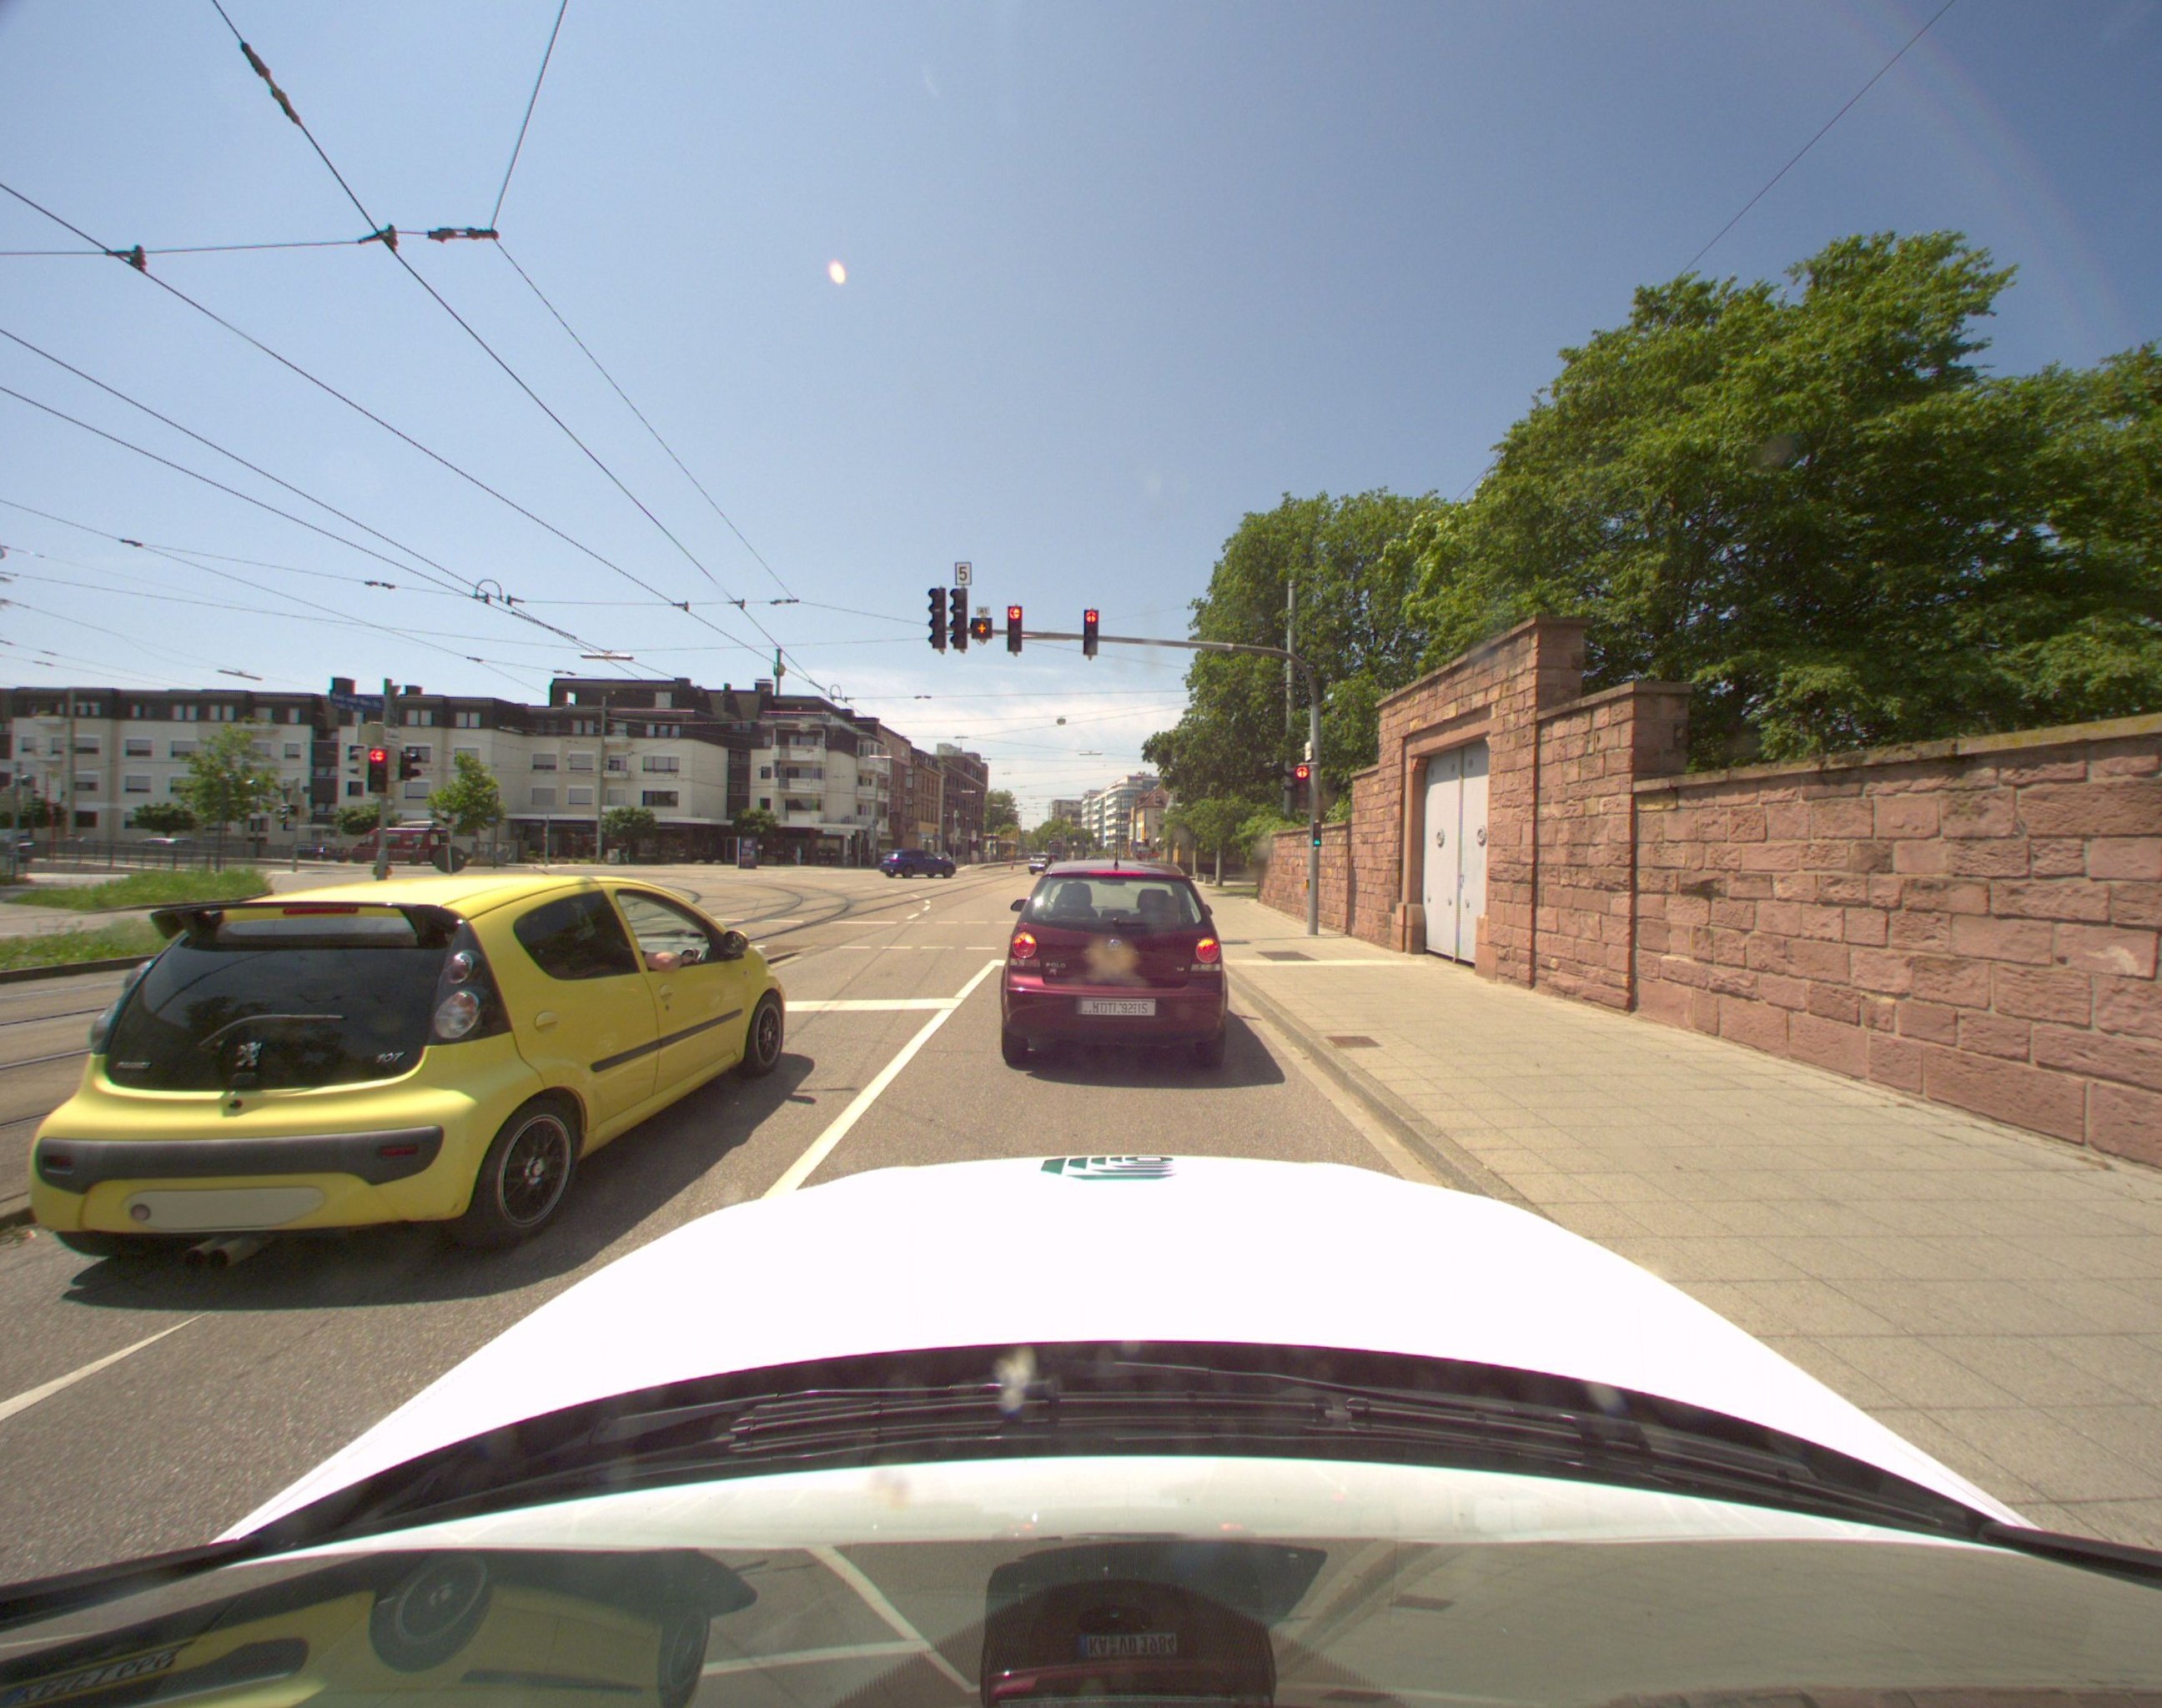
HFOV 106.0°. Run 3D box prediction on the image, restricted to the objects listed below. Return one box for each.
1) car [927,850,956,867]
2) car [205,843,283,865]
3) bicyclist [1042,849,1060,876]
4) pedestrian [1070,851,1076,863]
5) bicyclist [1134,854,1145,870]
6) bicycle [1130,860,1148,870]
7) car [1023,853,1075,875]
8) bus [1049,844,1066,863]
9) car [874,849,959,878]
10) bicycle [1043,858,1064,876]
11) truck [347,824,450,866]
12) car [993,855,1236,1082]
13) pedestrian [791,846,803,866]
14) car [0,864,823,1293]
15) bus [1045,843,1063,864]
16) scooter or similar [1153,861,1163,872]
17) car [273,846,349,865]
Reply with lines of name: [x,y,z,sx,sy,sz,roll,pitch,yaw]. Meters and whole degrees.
car: [-13.785,0.439,80.533,1.986,1.553,4.141,1,0,2]
car: [-55.841,-0.013,54.382,3.556,1.433,1.591,1,0,2]
bicyclist: [-1.967,0.570,53.442,0.720,1.760,0.930,1,0,34]
pedestrian: [-1.102,0.446,115.556,0.760,1.674,1.101,1,0,2]
bicyclist: [6.222,0.825,86.633,0.862,1.618,0.827,-3,1,-30]
bicycle: [6.136,1.136,86.585,1.869,1.002,0.664,-3,1,-31]
car: [-2.319,0.742,60.173,1.806,1.530,4.025,1,0,33]
bus: [-3.760,-0.055,130.198,2.224,3.003,6.597,1,0,2]
car: [-9.636,0.539,47.925,1.975,1.624,4.660,1,0,41]
bicycle: [-1.809,0.856,53.620,0.372,1.197,1.917,1,0,33]
truck: [-45.425,-0.590,54.283,5.007,2.698,2.188,1,0,1]
car: [0.242,0.747,6.827,1.556,1.453,3.062,1,0,1]
pedestrian: [-24.226,0.206,69.471,0.803,1.696,0.701,1,0,-2]
car: [-2.891,0.795,4.637,1.610,1.421,3.656,-1,-1,1]
bus: [-4.043,-0.107,123.623,2.136,3.003,6.577,1,0,2]
scooter or similar: [7.958,1.286,83.834,0.340,1.178,1.457,1,0,-22]
car: [-51.431,0.096,54.445,3.556,1.219,1.591,1,0,2]
